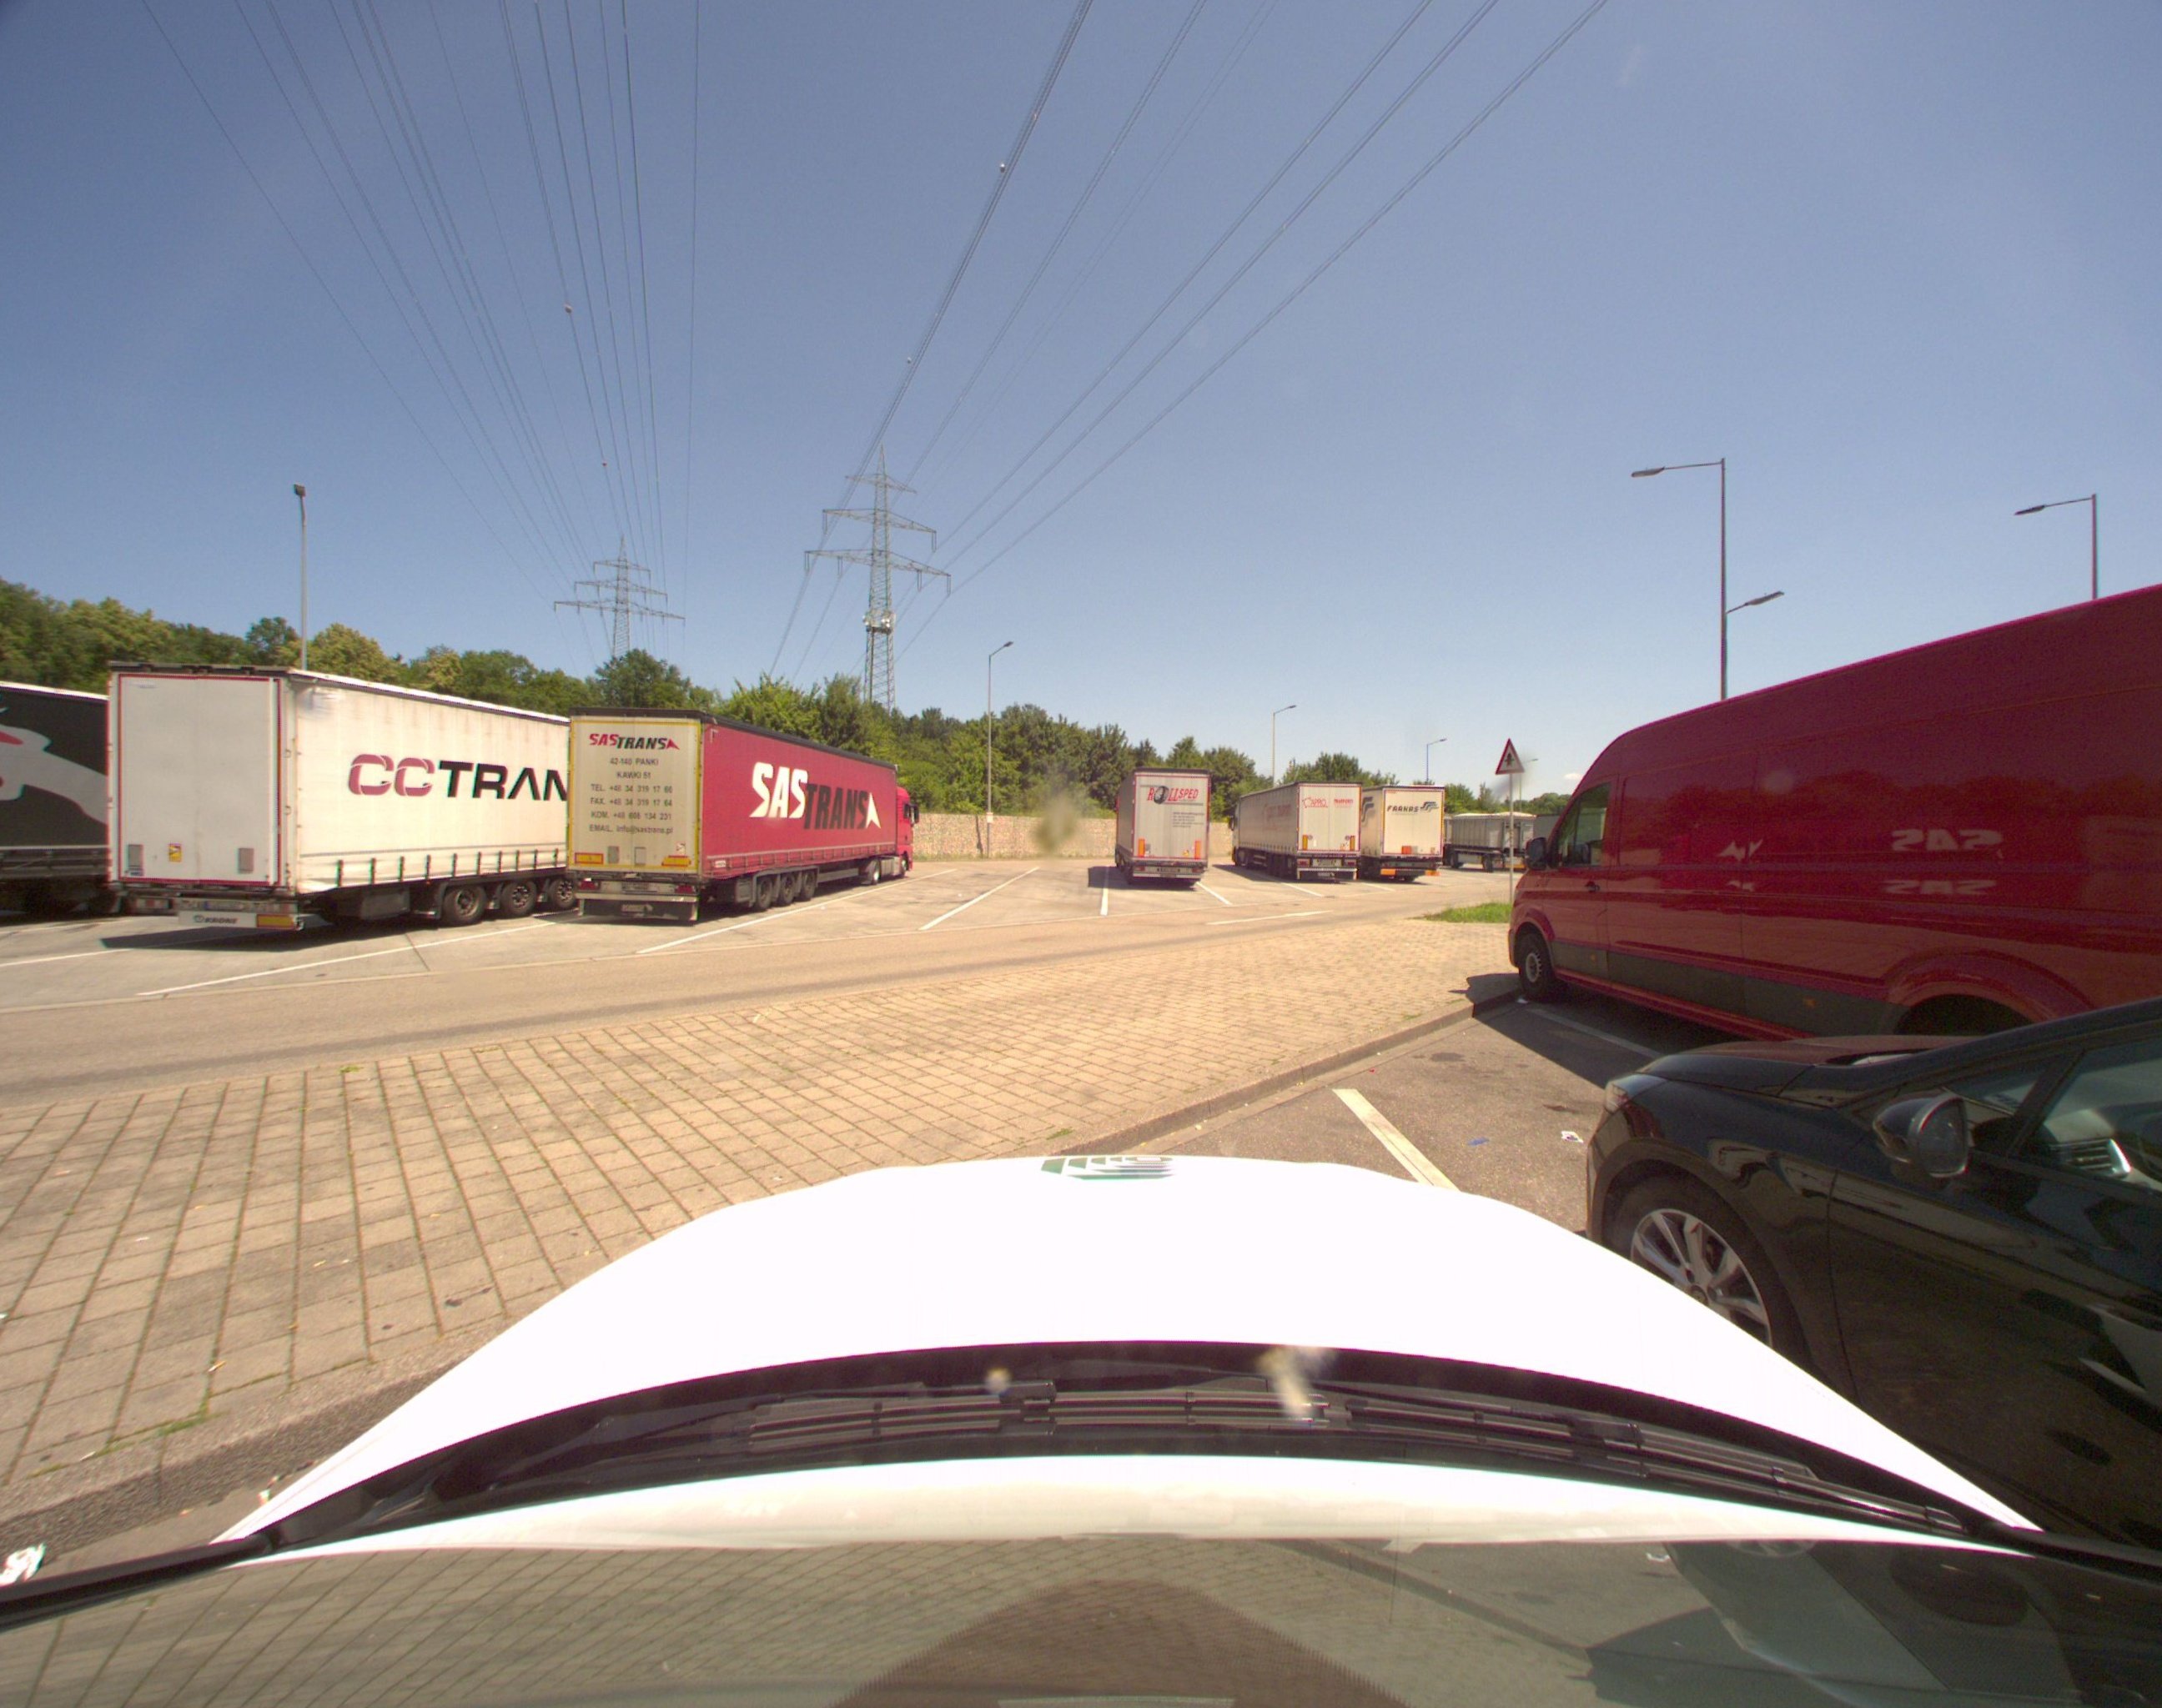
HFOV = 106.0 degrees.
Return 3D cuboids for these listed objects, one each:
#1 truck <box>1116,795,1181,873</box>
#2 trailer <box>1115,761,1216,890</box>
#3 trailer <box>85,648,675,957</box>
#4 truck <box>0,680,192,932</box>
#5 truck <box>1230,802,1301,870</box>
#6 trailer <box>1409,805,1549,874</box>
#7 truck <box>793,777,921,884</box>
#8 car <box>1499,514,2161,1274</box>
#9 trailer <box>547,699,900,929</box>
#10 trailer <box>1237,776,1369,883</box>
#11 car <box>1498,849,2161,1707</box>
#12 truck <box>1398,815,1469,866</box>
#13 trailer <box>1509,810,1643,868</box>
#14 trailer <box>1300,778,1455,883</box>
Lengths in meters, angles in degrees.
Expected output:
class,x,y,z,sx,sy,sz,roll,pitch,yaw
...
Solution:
class,x,y,z,sx,sy,sz,roll,pitch,yaw
truck,3.180,-0.985,39.897,2.841,3.483,5.486,1,1,2
trailer,3.034,-1.099,33.285,2.896,4.132,13.727,1,2,1
trailer,-12.200,-0.890,16.321,2.718,4.209,10.176,1,2,2
truck,-18.576,-0.804,13.558,2.692,4.016,4.327,1,2,2
truck,10.177,-1.024,45.420,2.841,3.483,5.486,1,1,2
trailer,24.547,-0.992,51.435,2.826,3.717,13.737,1,2,3
truck,-7.792,-0.835,29.085,2.841,3.427,5.486,1,1,2
car,5.162,0.092,5.477,2.055,2.695,6.405,-1,1,6
trailer,-8.033,-0.953,21.649,2.896,4.131,13.731,1,2,2
trailer,9.966,-1.149,38.609,2.828,4.132,13.730,1,2,2
car,2.518,0.758,1.168,1.733,1.482,3.813,-1,1,-3
truck,24.938,-1.001,57.933,2.840,3.364,5.488,1,1,3
trailer,38.393,-1.224,64.115,2.826,4.049,13.737,1,2,3
trailer,13.623,-1.114,39.272,2.828,4.132,13.730,1,2,2
